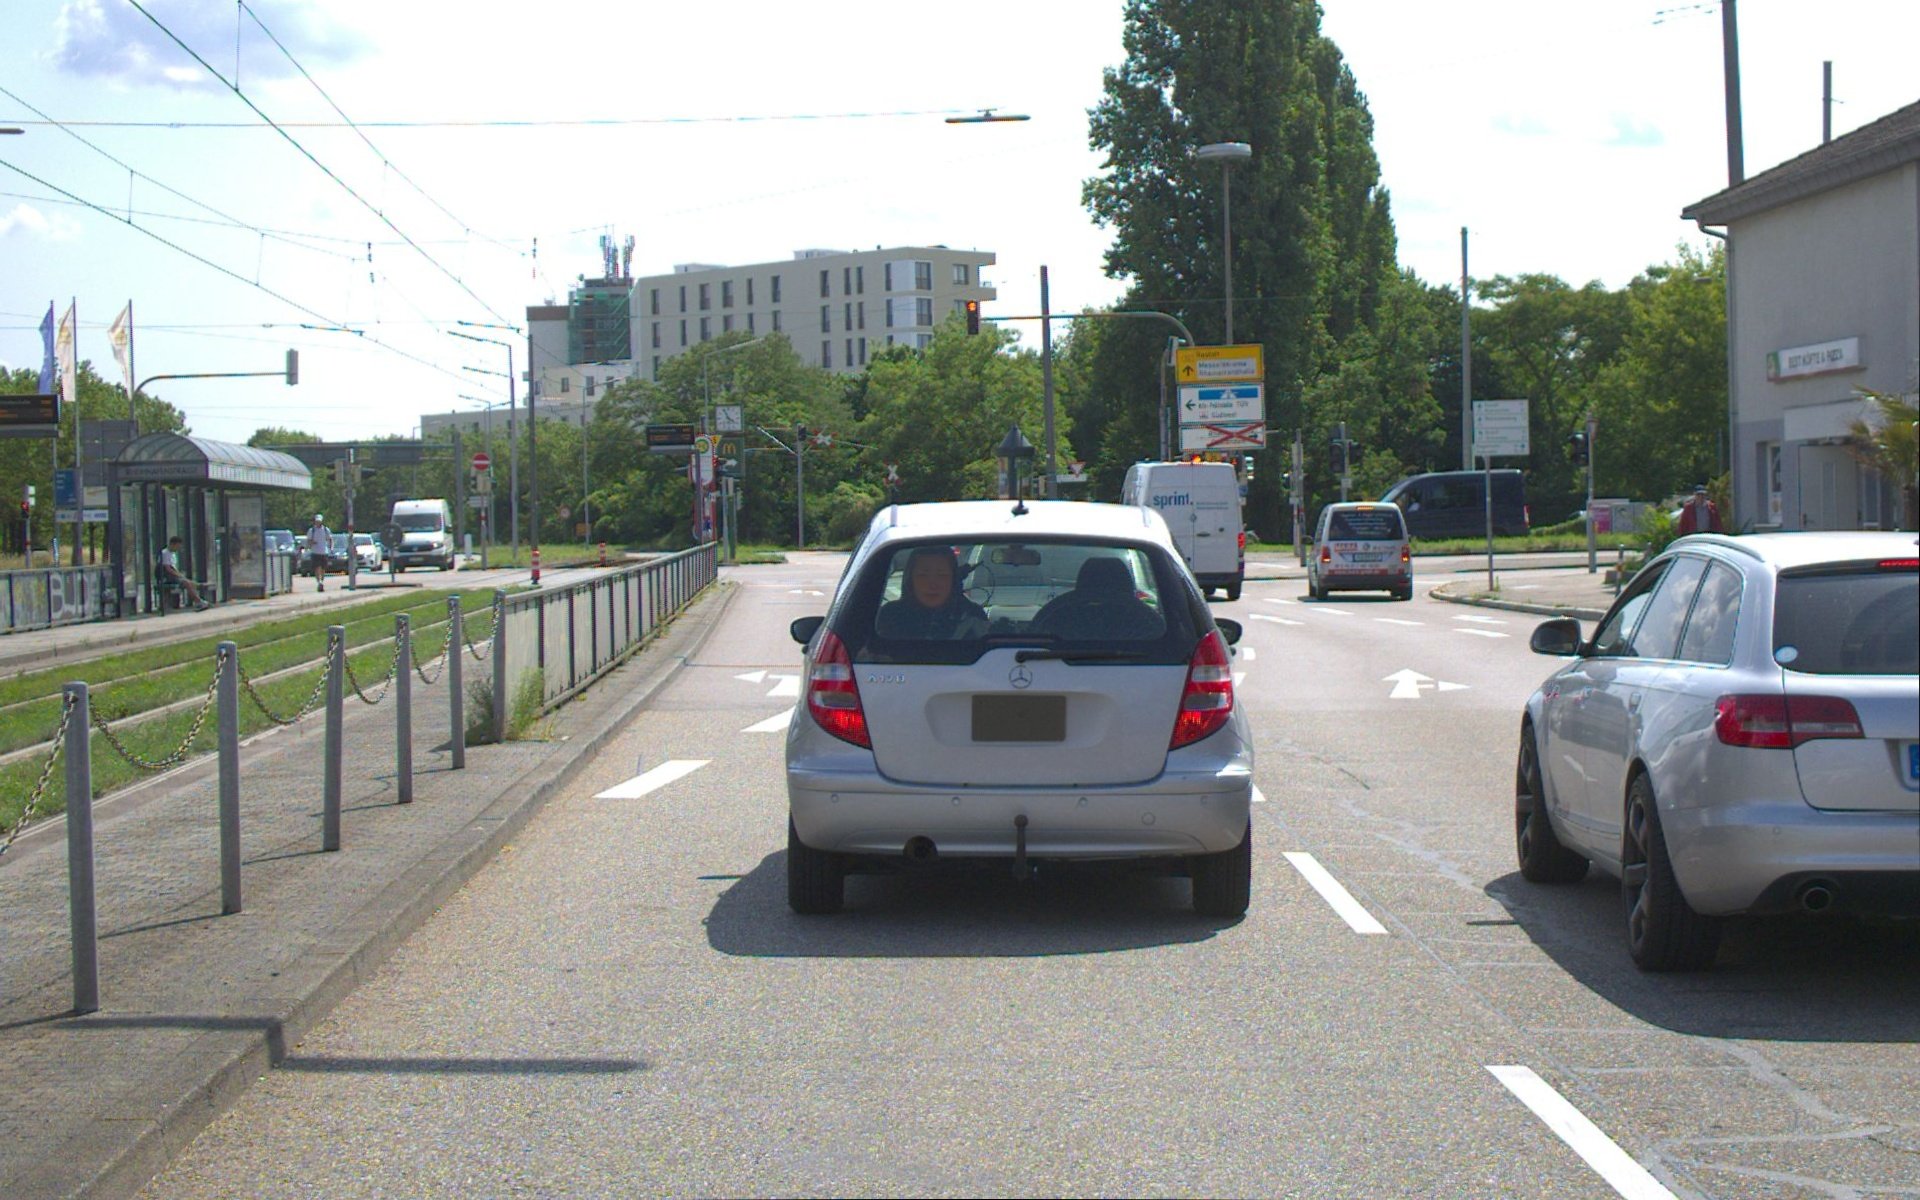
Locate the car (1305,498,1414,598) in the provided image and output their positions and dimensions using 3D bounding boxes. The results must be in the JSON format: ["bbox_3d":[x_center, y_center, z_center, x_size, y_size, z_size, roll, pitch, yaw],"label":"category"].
[{"bbox_3d":[7.355,-0.966,63.498,1.885,1.725,4.093,-2,1,6],"label":"car"}]

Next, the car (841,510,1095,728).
[{"bbox_3d":[0.081,0.070,26.108,1.739,1.487,4.630,-1,2,1],"label":"car"}]

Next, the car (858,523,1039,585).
[{"bbox_3d":[-0.298,-1.256,93.480,4.863,1.654,2.000,0,1,1],"label":"car"}]

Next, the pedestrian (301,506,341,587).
[{"bbox_3d":[-14.426,-1.215,77.570,0.807,1.789,0.709,-2,1,-14],"label":"pedestrian"}]

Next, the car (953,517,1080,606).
[{"bbox_3d":[0.913,-0.673,57.880,1.869,1.415,4.100,0,2,-3],"label":"car"}]

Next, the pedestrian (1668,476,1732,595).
[{"bbox_3d":[11.384,-0.997,52.901,0.721,1.776,0.703,-4,1,0],"label":"pedestrian"}]

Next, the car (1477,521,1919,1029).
[{"bbox_3d":[3.137,0.476,12.575,1.854,1.487,4.536,-1,2,1],"label":"car"}]

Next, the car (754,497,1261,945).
[{"bbox_3d":[0.255,0.371,14.299,1.787,1.571,4.094,1,2,3],"label":"car"}]

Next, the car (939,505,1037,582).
[{"bbox_3d":[0.537,-1.162,69.581,1.744,1.494,4.380,-1,2,-3],"label":"car"}]

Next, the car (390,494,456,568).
[{"bbox_3d":[-19.125,-2.466,122.599,1.993,2.597,4.880,0,1,-5],"label":"car"}]

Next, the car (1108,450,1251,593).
[{"bbox_3d":[4.074,-1.487,64.733,2.040,2.549,5.232,-1,2,-3],"label":"car"}]

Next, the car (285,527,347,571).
[{"bbox_3d":[-22.766,-1.818,121.650,1.896,1.536,3.730,0,1,-6],"label":"car"}]

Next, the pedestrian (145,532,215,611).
[{"bbox_3d":[-13.660,-0.507,60.236,1.058,1.371,0.860,0,1,-2],"label":"pedestrian"}]
